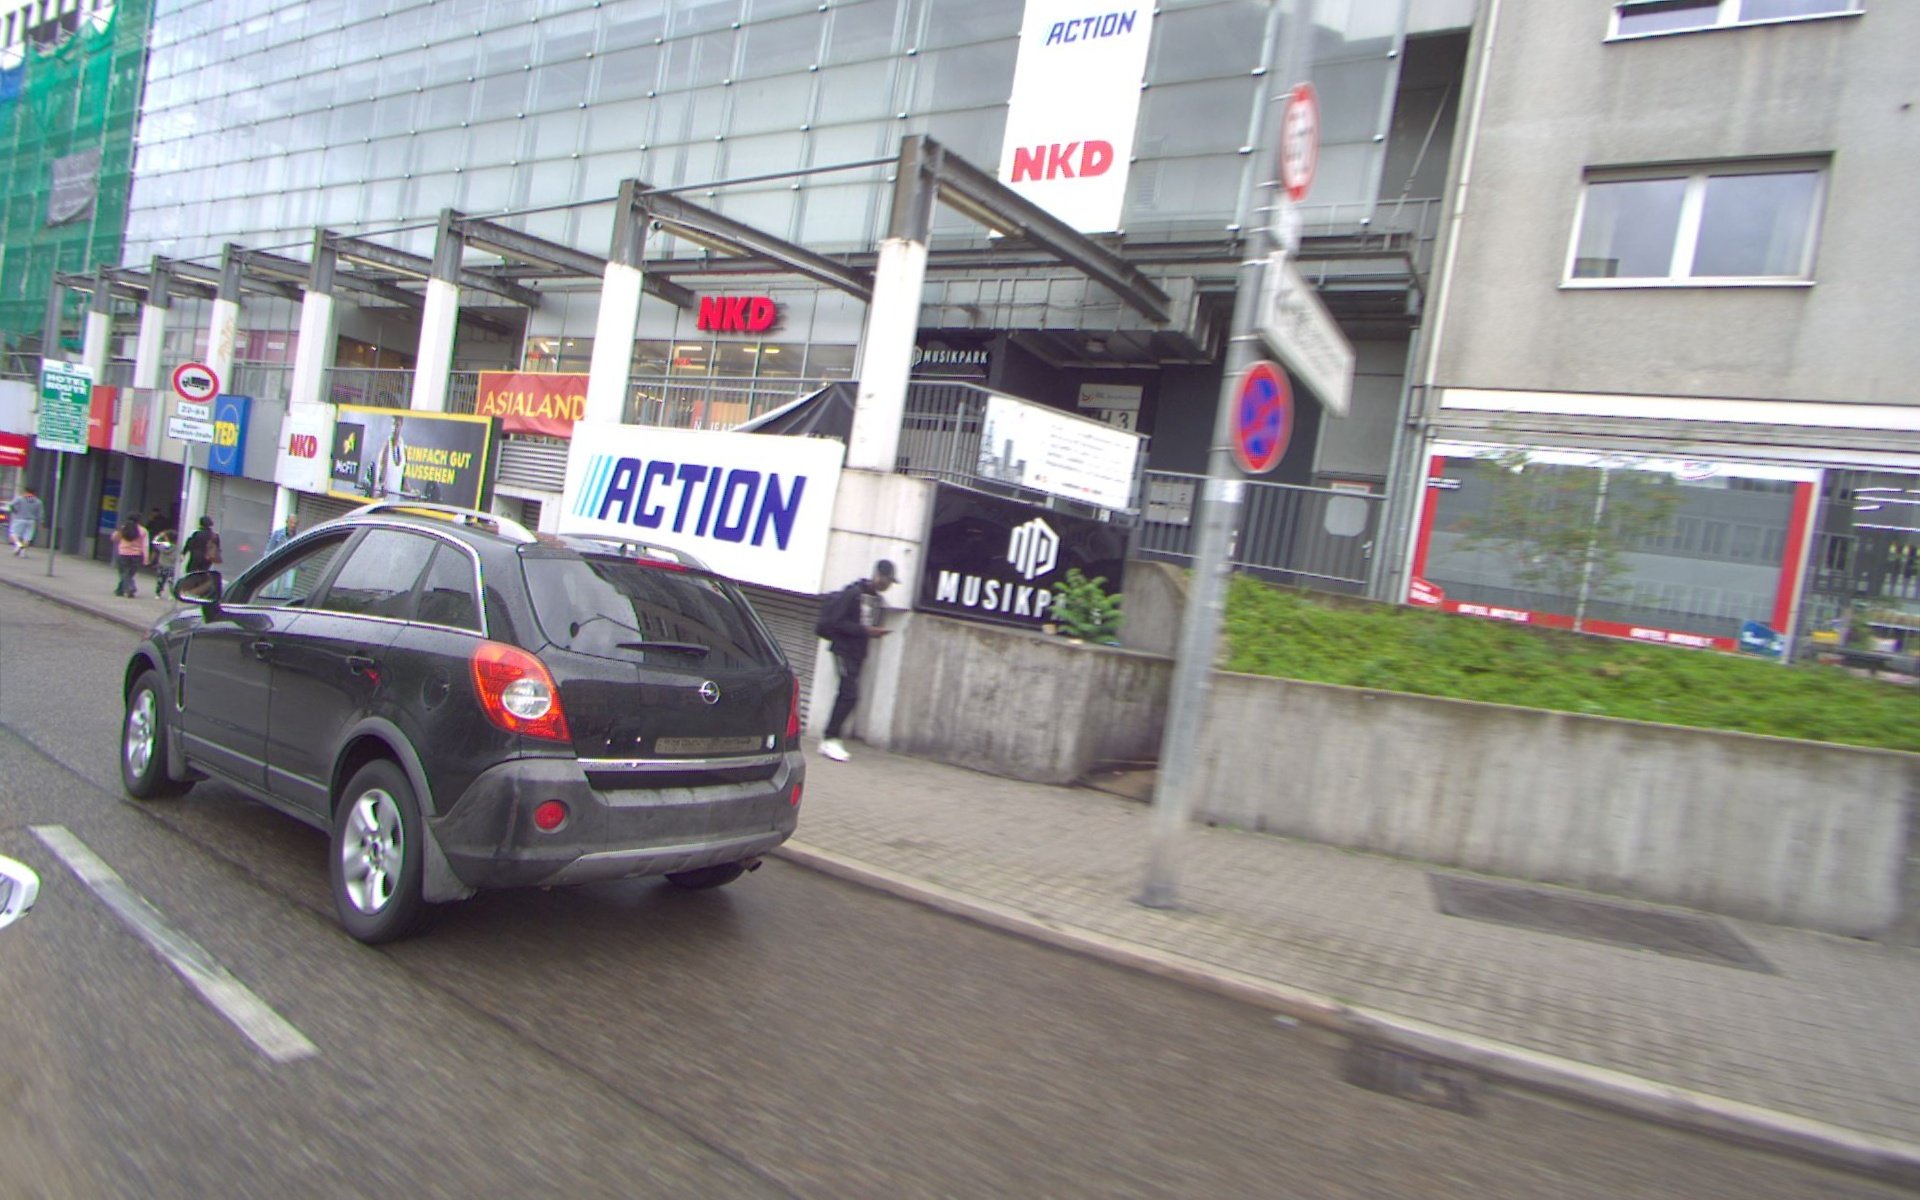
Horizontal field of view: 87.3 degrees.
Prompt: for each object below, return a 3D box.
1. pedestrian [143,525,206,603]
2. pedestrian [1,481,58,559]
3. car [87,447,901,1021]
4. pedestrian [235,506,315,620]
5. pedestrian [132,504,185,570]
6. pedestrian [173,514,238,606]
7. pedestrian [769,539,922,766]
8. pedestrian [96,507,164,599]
[{"bbox_3d":[-13.441,-0.615,17.207,0.546,1.223,0.689,8,1,43],"label":"pedestrian"},{"bbox_3d":[-22.314,-1.918,24.126,0.818,1.744,0.834,8,1,43],"label":"pedestrian"},{"bbox_3d":[-2.646,0.338,5.307,4.234,1.807,1.908,8,0,35],"label":"car"},{"bbox_3d":[-11.164,-0.594,16.401,0.609,1.744,0.834,8,1,43],"label":"pedestrian"},{"bbox_3d":[-22.787,-1.770,28.615,0.803,1.737,0.670,7,1,-5],"label":"pedestrian"},{"bbox_3d":[-13.118,-0.694,17.508,0.767,1.485,0.697,6,1,-36],"label":"pedestrian"},{"bbox_3d":[-1.035,0.455,9.065,0.995,1.863,0.599,8,2,32],"label":"pedestrian"},{"bbox_3d":[-13.989,-0.791,16.964,0.589,1.456,0.744,8,3,43],"label":"pedestrian"}]
